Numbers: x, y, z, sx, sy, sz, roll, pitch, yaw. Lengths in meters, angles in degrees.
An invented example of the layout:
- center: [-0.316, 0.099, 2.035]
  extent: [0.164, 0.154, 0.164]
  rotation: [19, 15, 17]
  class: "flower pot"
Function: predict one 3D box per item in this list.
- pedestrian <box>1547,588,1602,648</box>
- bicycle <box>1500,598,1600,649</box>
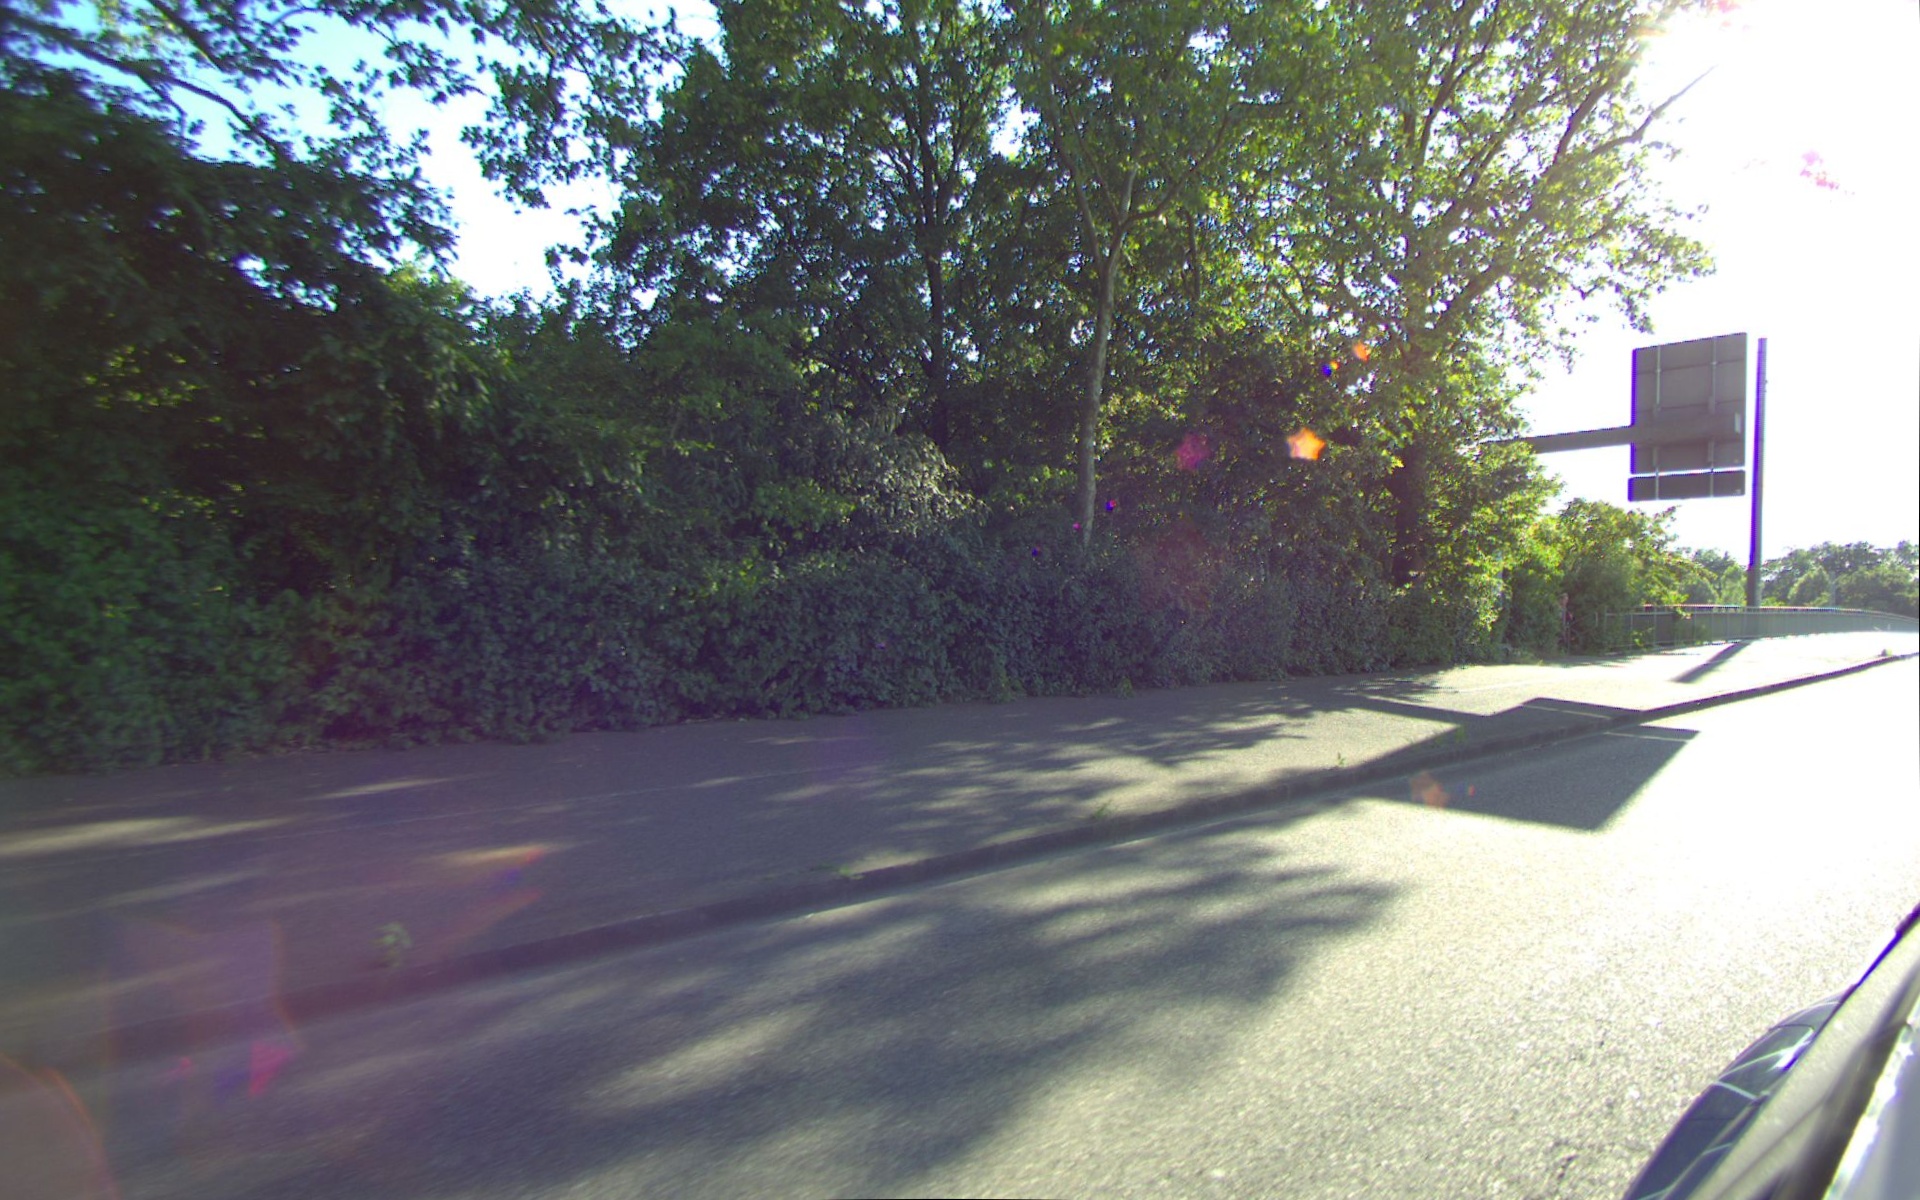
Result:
- center: [14.775, 0.418, 24.331]
  extent: [0.790, 1.413, 0.815]
  rotation: [1, 1, -27]
  class: "pedestrian"
- center: [14.226, 0.546, 24.465]
  extent: [0.614, 1.136, 2.045]
  rotation: [1, 1, -28]
  class: "bicycle"
